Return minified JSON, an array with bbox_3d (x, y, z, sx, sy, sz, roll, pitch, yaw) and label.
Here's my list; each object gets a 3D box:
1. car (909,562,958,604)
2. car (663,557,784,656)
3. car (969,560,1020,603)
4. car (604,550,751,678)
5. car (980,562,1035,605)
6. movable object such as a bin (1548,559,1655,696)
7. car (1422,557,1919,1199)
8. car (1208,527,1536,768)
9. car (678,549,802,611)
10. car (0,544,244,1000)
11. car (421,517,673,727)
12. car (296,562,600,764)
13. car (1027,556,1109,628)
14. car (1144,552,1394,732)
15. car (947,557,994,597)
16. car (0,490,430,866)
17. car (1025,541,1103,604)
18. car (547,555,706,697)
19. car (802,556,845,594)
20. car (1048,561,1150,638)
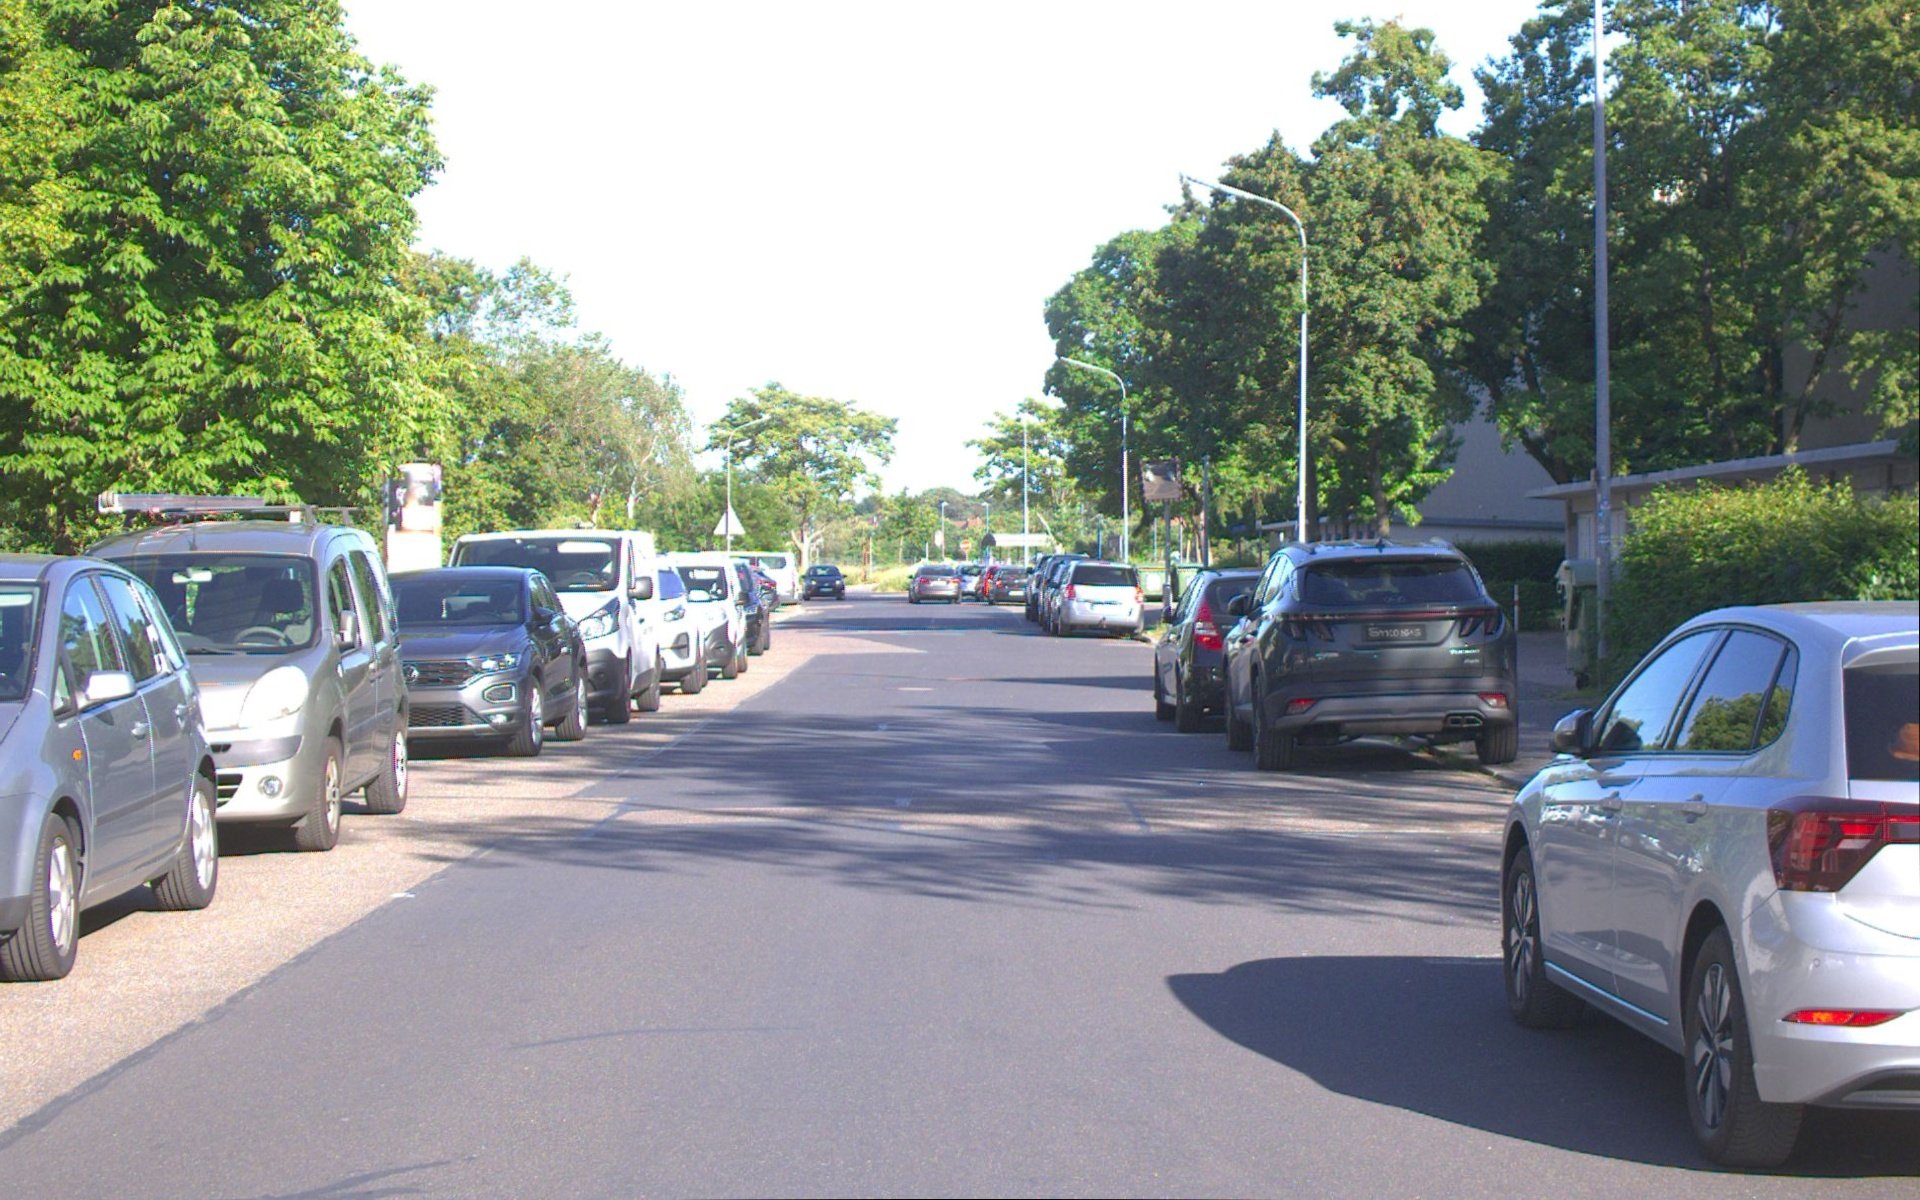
[{"bbox_3d":[-1.021,-0.652,130.972,1.679,1.508,4.105,2,1,-2],"label":"car"},{"bbox_3d":[-4.020,0.084,59.000,1.746,1.607,4.308,-1,1,0],"label":"car"},{"bbox_3d":[1.334,-0.731,134.732,1.795,1.638,3.952,1,0,-2],"label":"car"},{"bbox_3d":[-3.993,0.174,49.139,1.746,1.726,4.005,-1,1,0],"label":"car"},{"bbox_3d":[1.745,-0.609,127.552,1.795,1.543,3.952,1,0,-2],"label":"car"},{"bbox_3d":[6.863,0.283,36.834,0.917,1.449,1.233,0,0,0],"label":"movable object such as a bin"},{"bbox_3d":[2.582,0.661,9.867,1.753,1.508,4.105,2,1,-2],"label":"car"},{"bbox_3d":[3.014,0.307,26.065,1.908,1.634,4.628,1,1,0],"label":"car"},{"bbox_3d":[-7.328,-0.668,114.305,4.053,1.985,1.802,1,0,-5],"label":"car"},{"bbox_3d":[-4.163,0.613,14.012,1.709,1.595,3.986,-2,1,-2],"label":"car"},{"bbox_3d":[-4.132,0.183,35.170,1.915,1.956,5.088,-1,1,0],"label":"car"},{"bbox_3d":[-4.184,0.467,28.702,1.746,1.528,4.139,-1,1,2],"label":"car"},{"bbox_3d":[2.736,-0.224,87.882,1.795,1.780,3.952,1,0,-2],"label":"car"},{"bbox_3d":[2.787,0.343,31.916,1.908,1.525,4.328,1,1,0],"label":"car"},{"bbox_3d":[0.429,-0.969,144.665,1.795,1.638,3.952,1,1,-2],"label":"car"},{"bbox_3d":[-4.268,0.379,19.745,1.854,1.886,4.418,-1,1,-2],"label":"car"},{"bbox_3d":[2.768,-0.749,92.451,1.795,1.638,3.952,1,0,-2],"label":"car"},{"bbox_3d":[-4.149,0.288,43.283,1.746,1.664,4.378,-1,1,-3],"label":"car"},{"bbox_3d":[-5.833,-1.072,147.053,1.795,1.556,3.952,1,0,-2],"label":"car"},{"bbox_3d":[2.893,-0.027,72.161,1.795,1.556,3.952,1,0,-2],"label":"car"}]
